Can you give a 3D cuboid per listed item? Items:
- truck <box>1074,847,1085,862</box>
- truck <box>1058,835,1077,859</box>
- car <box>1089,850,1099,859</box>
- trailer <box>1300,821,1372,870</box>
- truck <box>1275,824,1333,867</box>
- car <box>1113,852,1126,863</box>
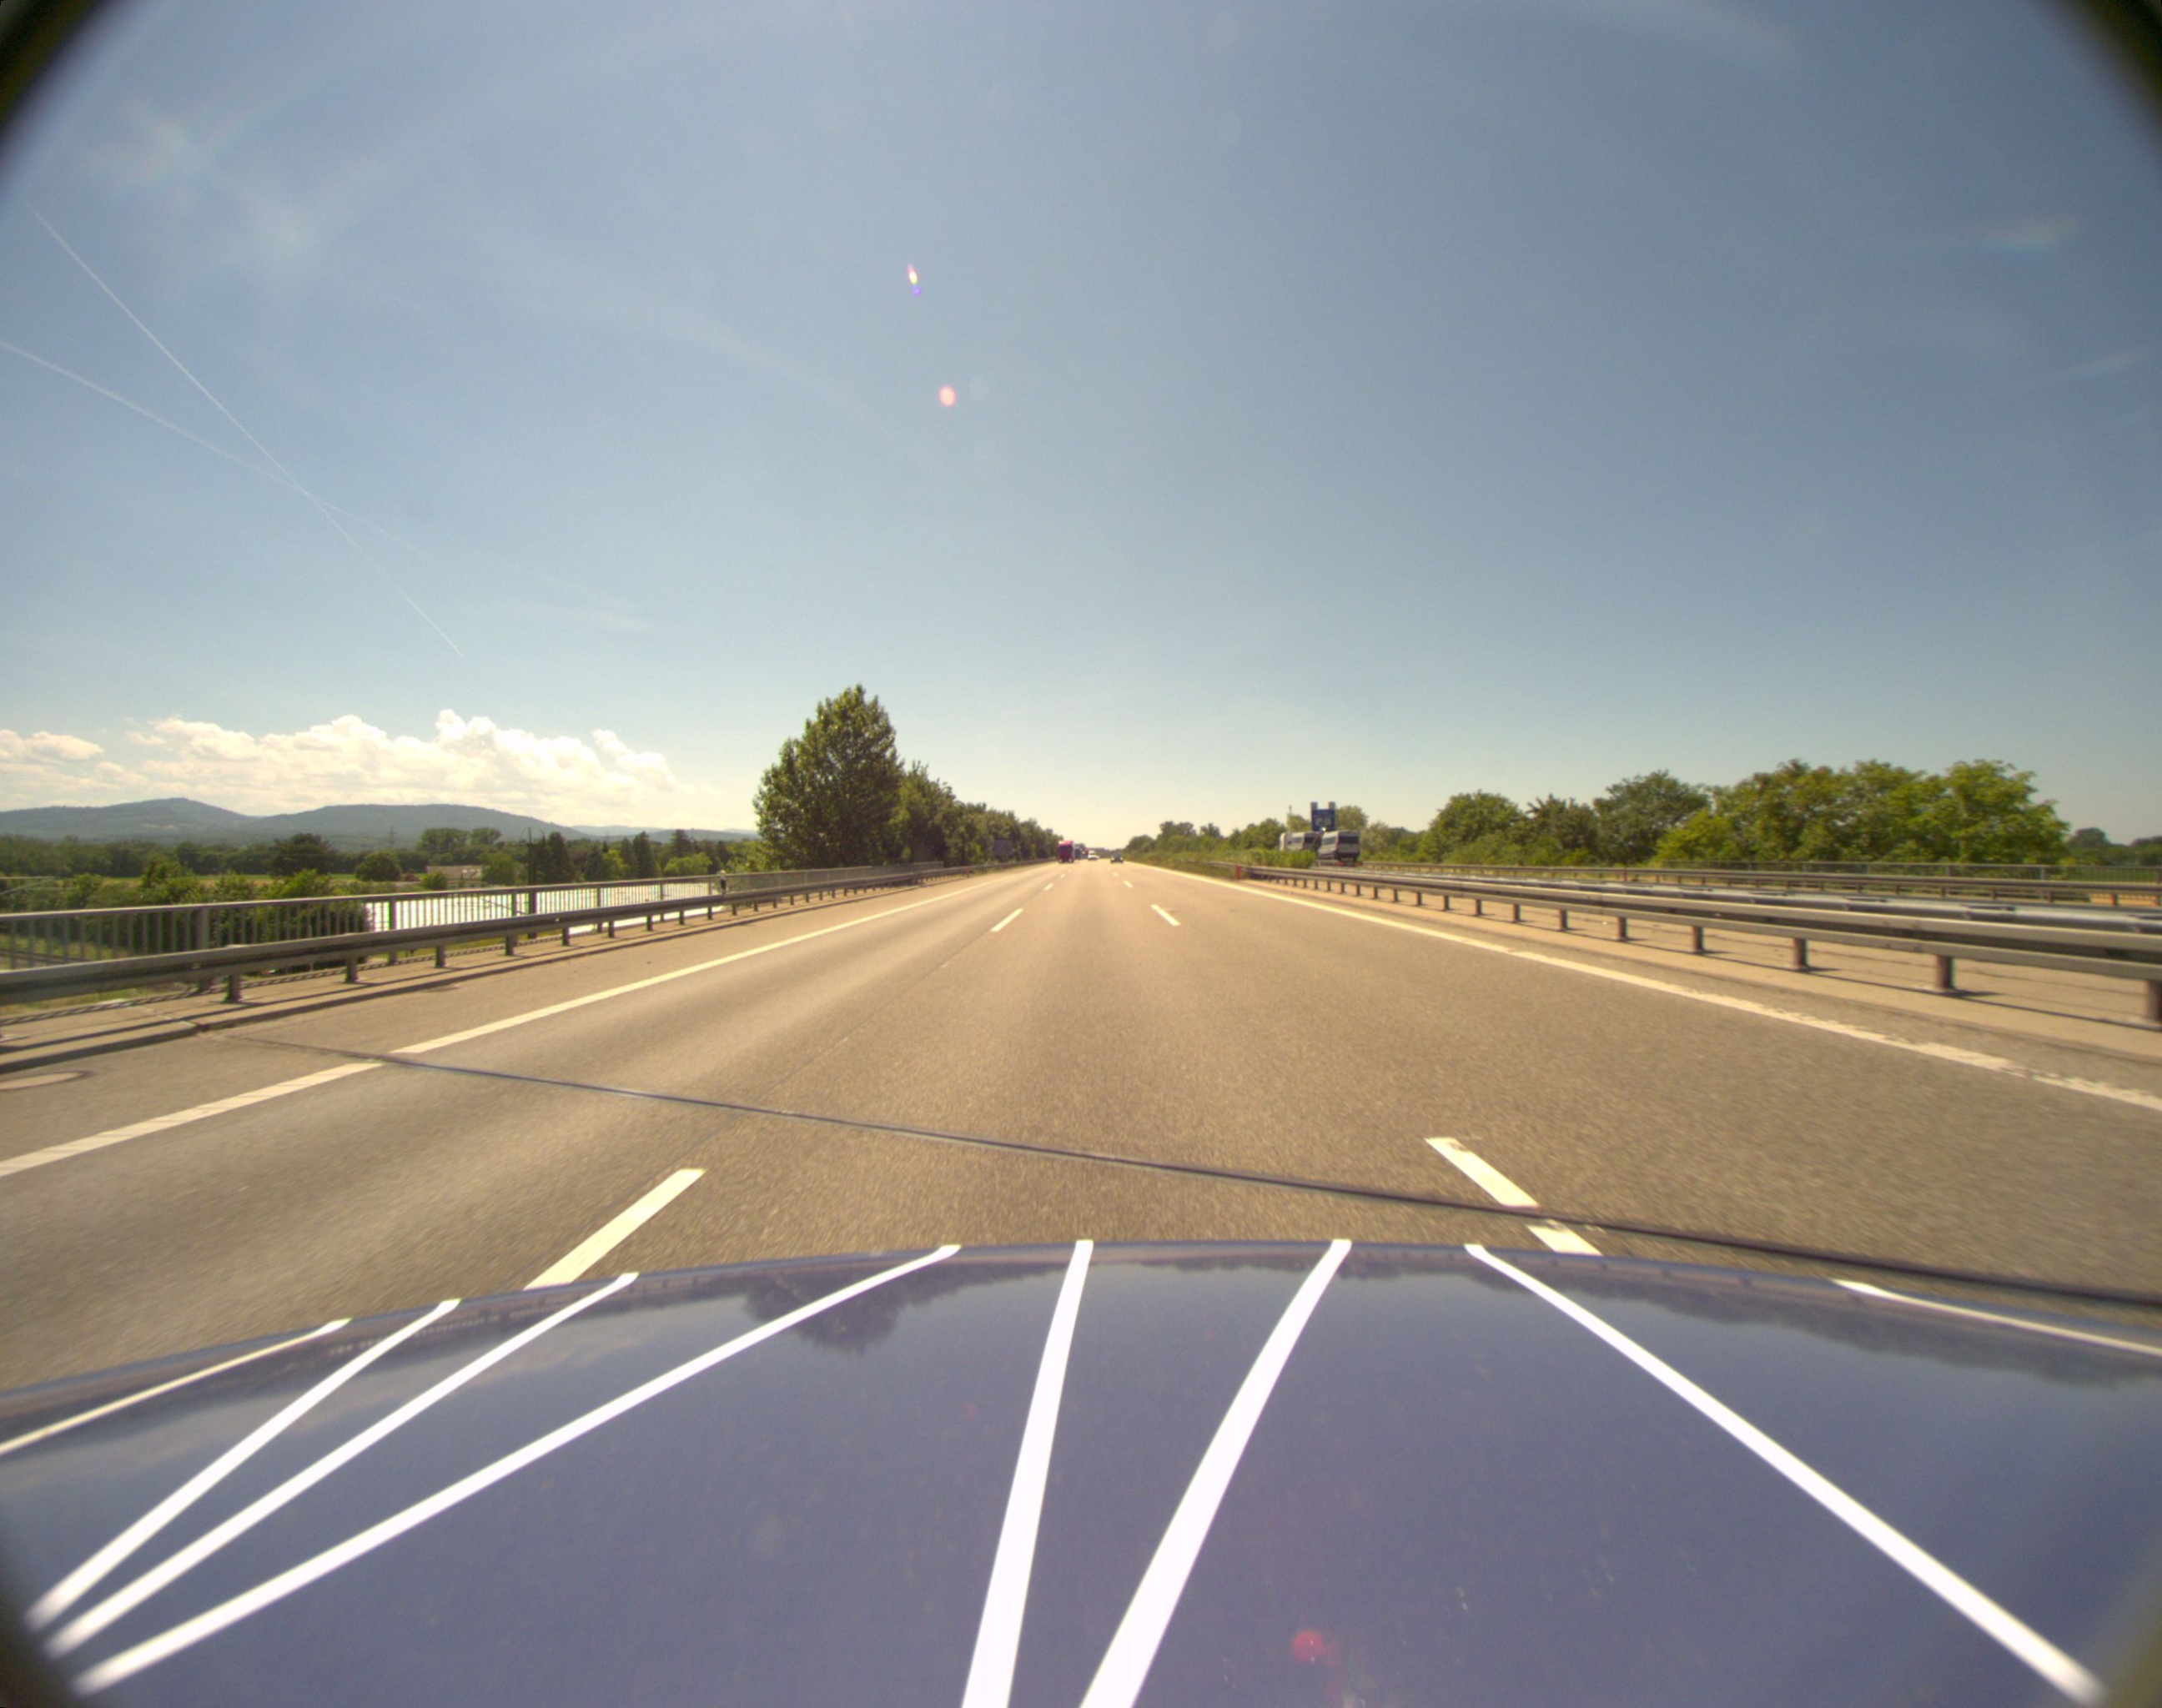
[{"bbox_3d":[-0.351,0.231,230.223,2.938,4.429,10.260,-2,0,1],"label":"truck"},{"bbox_3d":[-2.377,-1.238,136.543,2.938,3.934,10.260,-2,0,1],"label":"truck"},{"bbox_3d":[2.890,0.120,164.900,1.998,2.002,4.756,-2,0,1],"label":"car"},{"bbox_3d":[22.425,-0.723,67.474,2.933,3.967,9.658,-2,0,0],"label":"trailer"},{"bbox_3d":[22.430,-0.797,76.926,2.924,3.967,9.623,-2,0,0],"label":"truck"},{"bbox_3d":[5.637,0.531,111.252,1.736,1.433,4.000,-2,0,1],"label":"car"}]
